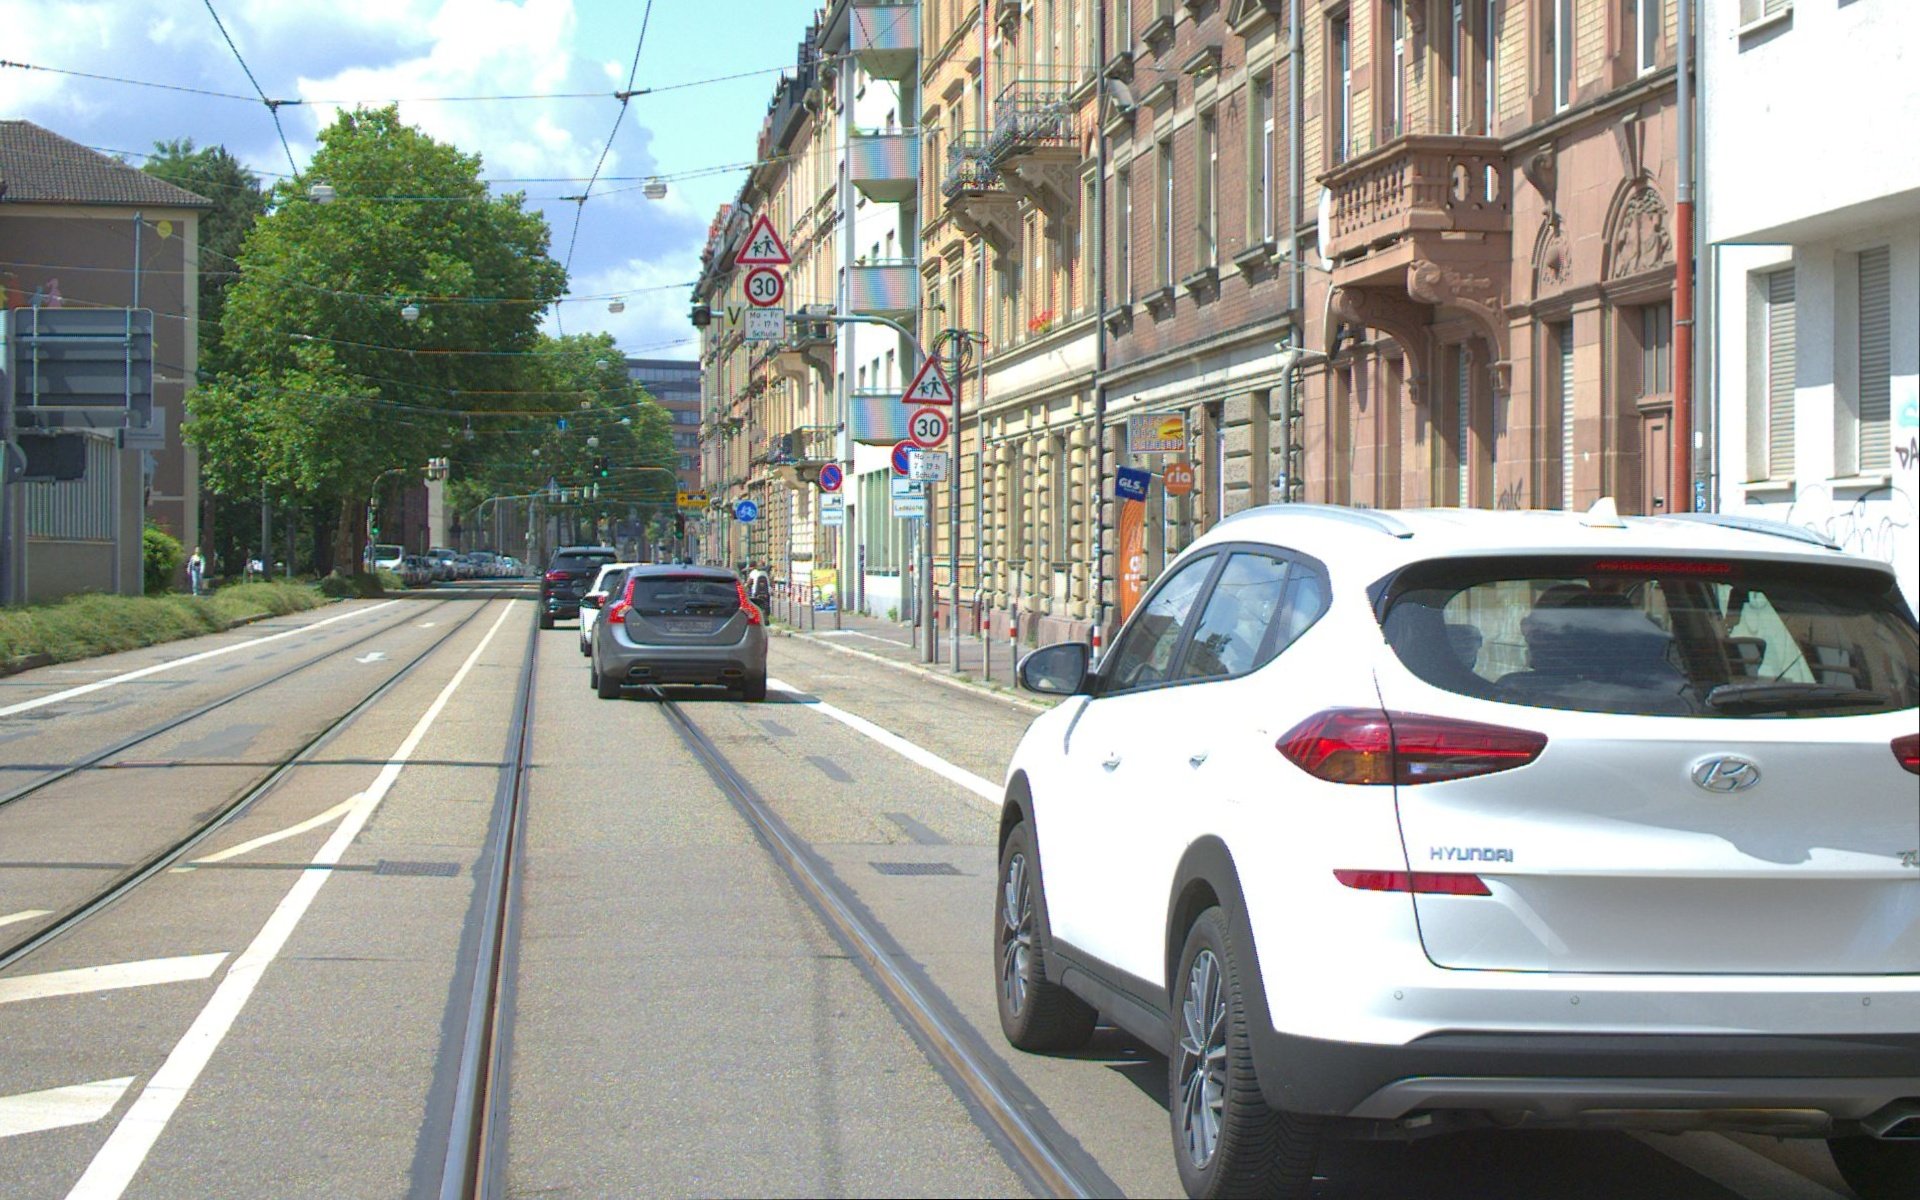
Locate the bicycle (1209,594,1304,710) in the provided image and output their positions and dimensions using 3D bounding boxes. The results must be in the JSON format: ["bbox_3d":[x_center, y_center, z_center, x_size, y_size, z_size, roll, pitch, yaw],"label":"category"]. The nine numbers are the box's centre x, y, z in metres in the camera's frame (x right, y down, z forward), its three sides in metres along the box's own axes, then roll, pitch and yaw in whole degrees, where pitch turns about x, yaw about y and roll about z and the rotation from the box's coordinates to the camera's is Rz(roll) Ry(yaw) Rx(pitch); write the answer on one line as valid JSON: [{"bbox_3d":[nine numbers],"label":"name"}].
[{"bbox_3d":[3.143,0.533,36.617,0.586,1.174,2.205,0,1,-6],"label":"bicycle"}]

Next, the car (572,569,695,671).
[{"bbox_3d":[-5.149,0.291,53.884,1.814,1.519,3.956,-1,0,-7],"label":"car"}]

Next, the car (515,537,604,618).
[{"bbox_3d":[-8.607,-0.500,73.835,1.814,1.656,4.086,1,1,-7],"label":"car"}]

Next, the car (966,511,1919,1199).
[{"bbox_3d":[1.251,0.619,9.125,1.852,1.628,4.182,1,1,-8],"label":"car"}]

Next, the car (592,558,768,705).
[{"bbox_3d":[-3.070,0.305,38.021,1.814,1.519,4.086,1,1,-4],"label":"car"}]
